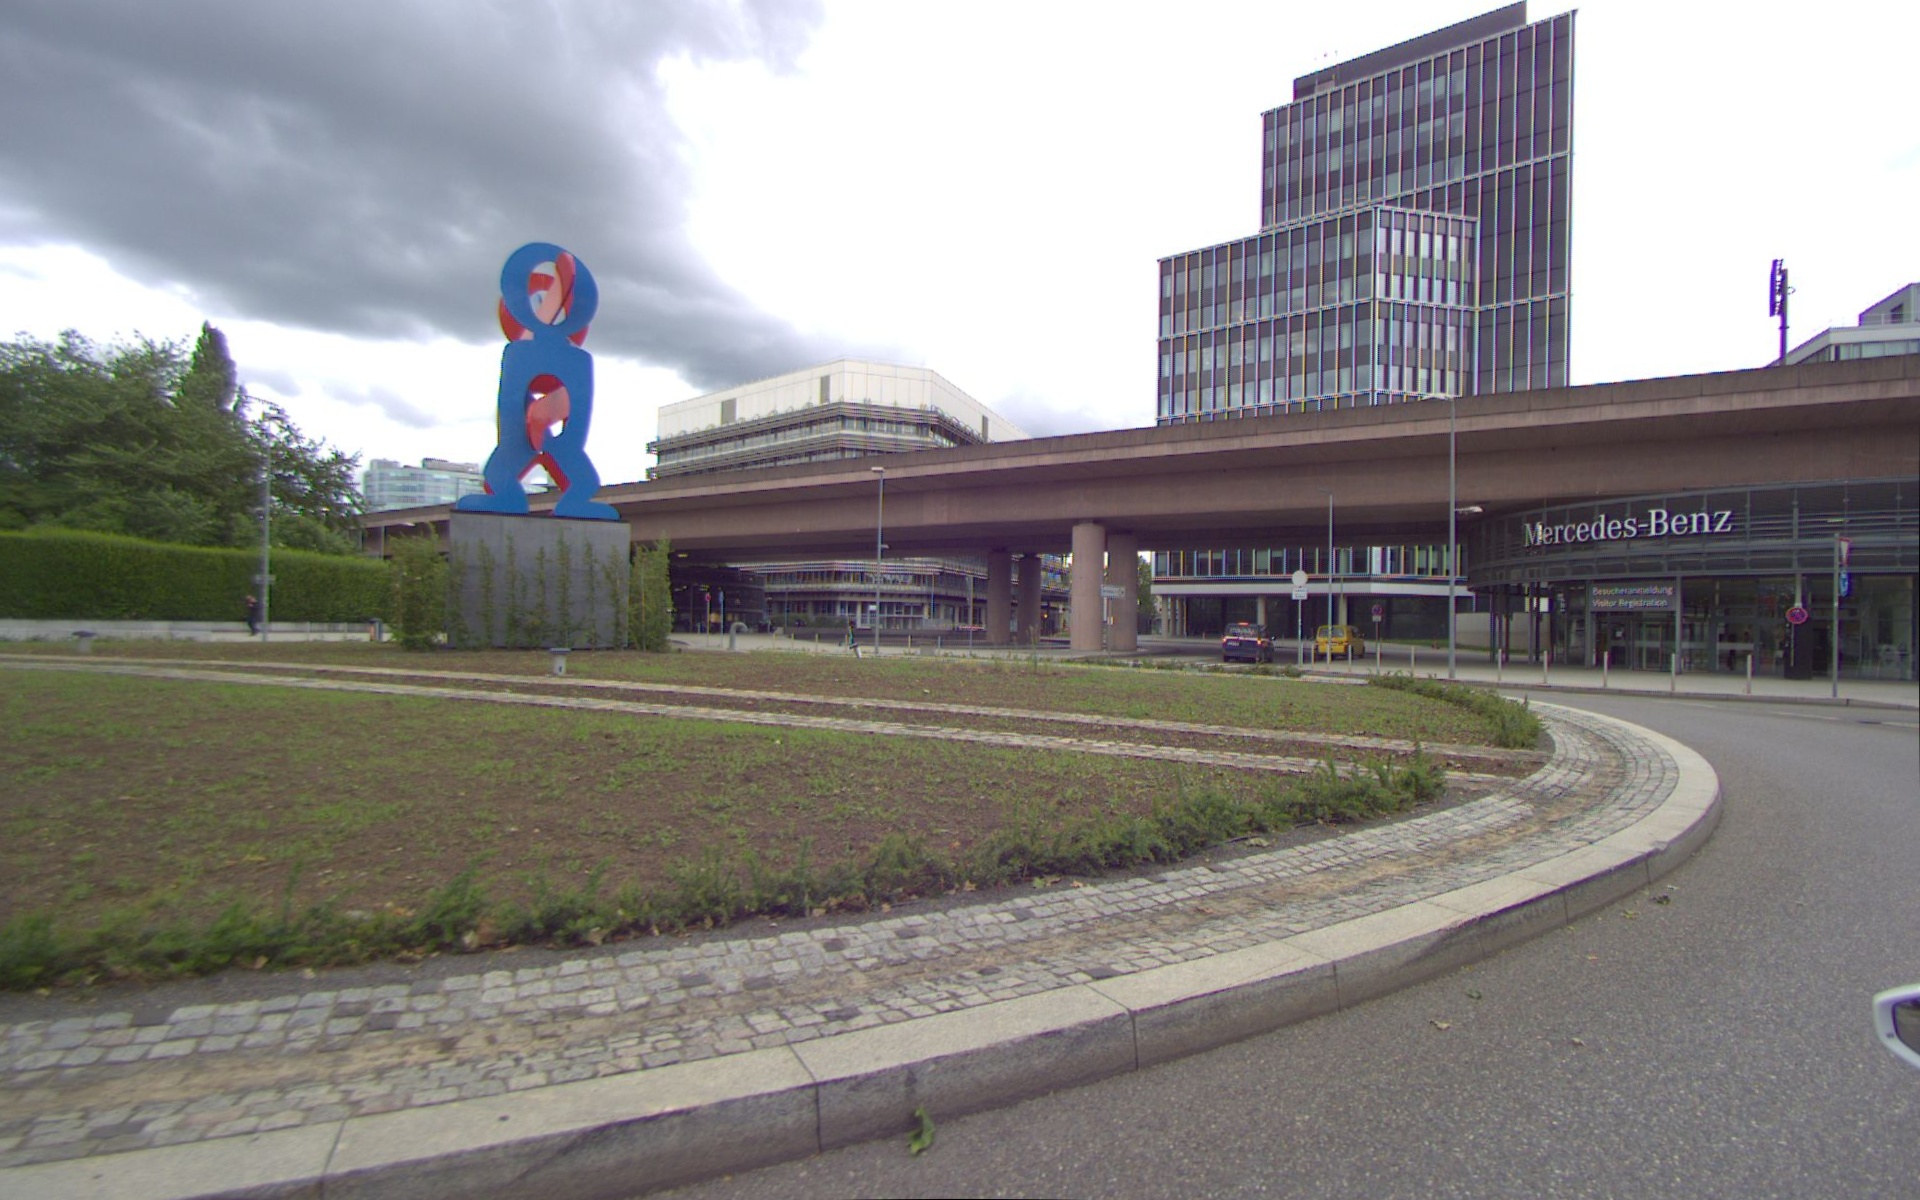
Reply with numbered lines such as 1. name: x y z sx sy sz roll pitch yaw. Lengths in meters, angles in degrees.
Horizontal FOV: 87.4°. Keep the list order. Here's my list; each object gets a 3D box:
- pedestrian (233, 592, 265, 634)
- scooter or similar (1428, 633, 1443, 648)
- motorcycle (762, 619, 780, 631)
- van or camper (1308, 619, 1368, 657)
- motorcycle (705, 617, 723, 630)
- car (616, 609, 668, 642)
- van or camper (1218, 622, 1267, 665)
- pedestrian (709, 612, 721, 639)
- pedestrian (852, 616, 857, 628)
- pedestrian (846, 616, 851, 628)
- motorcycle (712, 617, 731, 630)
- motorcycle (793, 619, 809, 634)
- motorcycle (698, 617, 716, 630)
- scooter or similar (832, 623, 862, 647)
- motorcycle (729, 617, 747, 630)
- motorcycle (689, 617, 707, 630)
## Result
1. pedestrian: -31.955 0.588 45.138 0.778 1.832 0.865 2 0 22
2. scooter or similar: 37.474 3.198 79.216 0.686 1.120 1.502 2 0 10
3. motorcycle: -20.424 2.692 108.518 2.328 1.236 0.671 2 0 40
4. van or camper: 21.776 2.155 57.791 2.321 2.026 4.494 2 0 32
5. motorcycle: -24.445 2.301 99.832 2.047 1.236 0.671 2 0 40
6. car: -18.302 1.471 57.721 1.827 1.734 3.668 2 0 -35
7. van or camper: 13.984 2.072 49.609 2.111 1.918 4.902 2 0 18
8. pedestrian: -18.699 1.933 76.557 0.772 2.040 1.036 2 0 -16
9. pedestrian: -13.889 2.916 131.751 0.486 1.501 0.545 2 0 8
10. pedestrian: -14.627 2.893 131.583 0.486 1.501 0.545 2 0 8
11. motorcycle: -23.871 2.351 100.549 2.047 1.303 0.671 2 0 40
12. motorcycle: -13.727 2.274 86.926 0.537 1.281 1.941 2 0 18
13. motorcycle: -25.015 2.289 99.186 2.047 1.236 0.671 2 0 40
14. scooter or similar: -6.436 1.975 57.026 1.633 1.313 0.513 2 0 -36
15. motorcycle: -22.552 2.378 101.979 2.047 1.236 0.671 2 0 40
16. motorcycle: -25.711 2.279 98.489 2.047 1.236 0.671 2 0 40
